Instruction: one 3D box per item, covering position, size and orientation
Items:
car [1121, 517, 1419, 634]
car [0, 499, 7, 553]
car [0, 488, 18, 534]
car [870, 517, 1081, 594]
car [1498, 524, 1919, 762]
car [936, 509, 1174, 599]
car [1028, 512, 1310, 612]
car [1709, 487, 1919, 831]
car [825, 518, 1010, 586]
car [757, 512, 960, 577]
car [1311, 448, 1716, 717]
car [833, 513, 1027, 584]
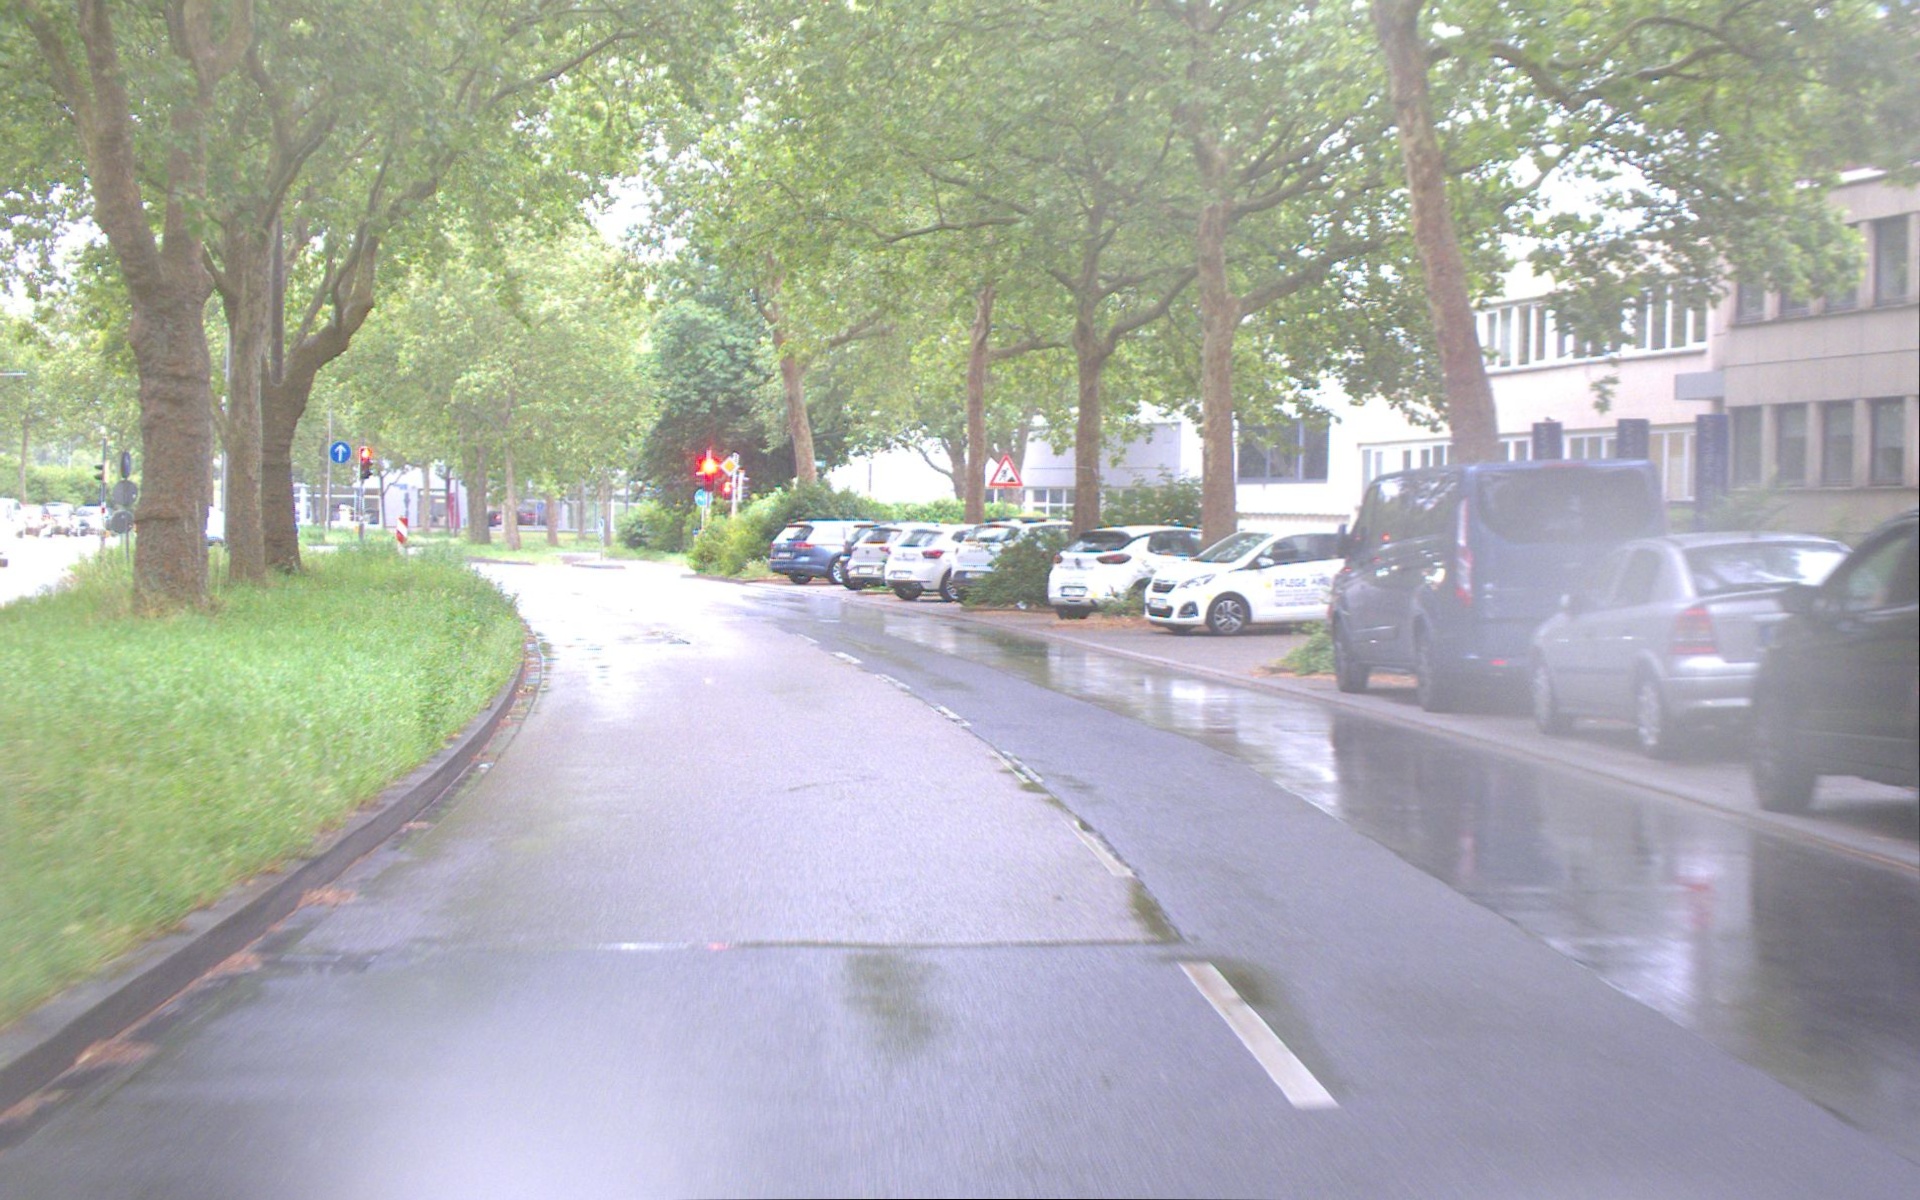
[{"bbox_3d":[4.219,-0.355,46.894,3.634,1.499,1.750,0,3,-23],"label":"car"},{"bbox_3d":[-27.594,-2.078,96.074,1.743,1.471,4.412,0,1,-17],"label":"car"},{"bbox_3d":[-33.524,-3.077,118.664,1.743,1.586,4.332,1,1,-13],"label":"car"},{"bbox_3d":[0.306,-0.846,65.458,3.681,1.411,1.749,0,1,-35],"label":"car"},{"bbox_3d":[5.047,0.224,23.568,1.743,1.464,4.307,1,1,-4],"label":"car"},{"bbox_3d":[1.690,-0.808,60.408,4.027,1.534,1.748,0,2,-41],"label":"car"},{"bbox_3d":[3.129,-0.566,51.074,4.026,1.423,1.748,0,2,-39],"label":"car"},{"bbox_3d":[5.147,0.253,16.741,1.743,1.561,4.372,1,1,-4],"label":"car"},{"bbox_3d":[-0.901,-1.031,74.206,3.682,1.411,1.748,0,2,-39],"label":"car"},{"bbox_3d":[-2.334,-1.281,79.916,4.482,1.454,1.749,0,1,-35],"label":"car"},{"bbox_3d":[4.495,-0.190,28.881,2.121,2.021,5.529,1,1,-4],"label":"car"},{"bbox_3d":[-0.604,-1.060,70.932,3.682,1.411,1.775,0,2,-39],"label":"car"}]
